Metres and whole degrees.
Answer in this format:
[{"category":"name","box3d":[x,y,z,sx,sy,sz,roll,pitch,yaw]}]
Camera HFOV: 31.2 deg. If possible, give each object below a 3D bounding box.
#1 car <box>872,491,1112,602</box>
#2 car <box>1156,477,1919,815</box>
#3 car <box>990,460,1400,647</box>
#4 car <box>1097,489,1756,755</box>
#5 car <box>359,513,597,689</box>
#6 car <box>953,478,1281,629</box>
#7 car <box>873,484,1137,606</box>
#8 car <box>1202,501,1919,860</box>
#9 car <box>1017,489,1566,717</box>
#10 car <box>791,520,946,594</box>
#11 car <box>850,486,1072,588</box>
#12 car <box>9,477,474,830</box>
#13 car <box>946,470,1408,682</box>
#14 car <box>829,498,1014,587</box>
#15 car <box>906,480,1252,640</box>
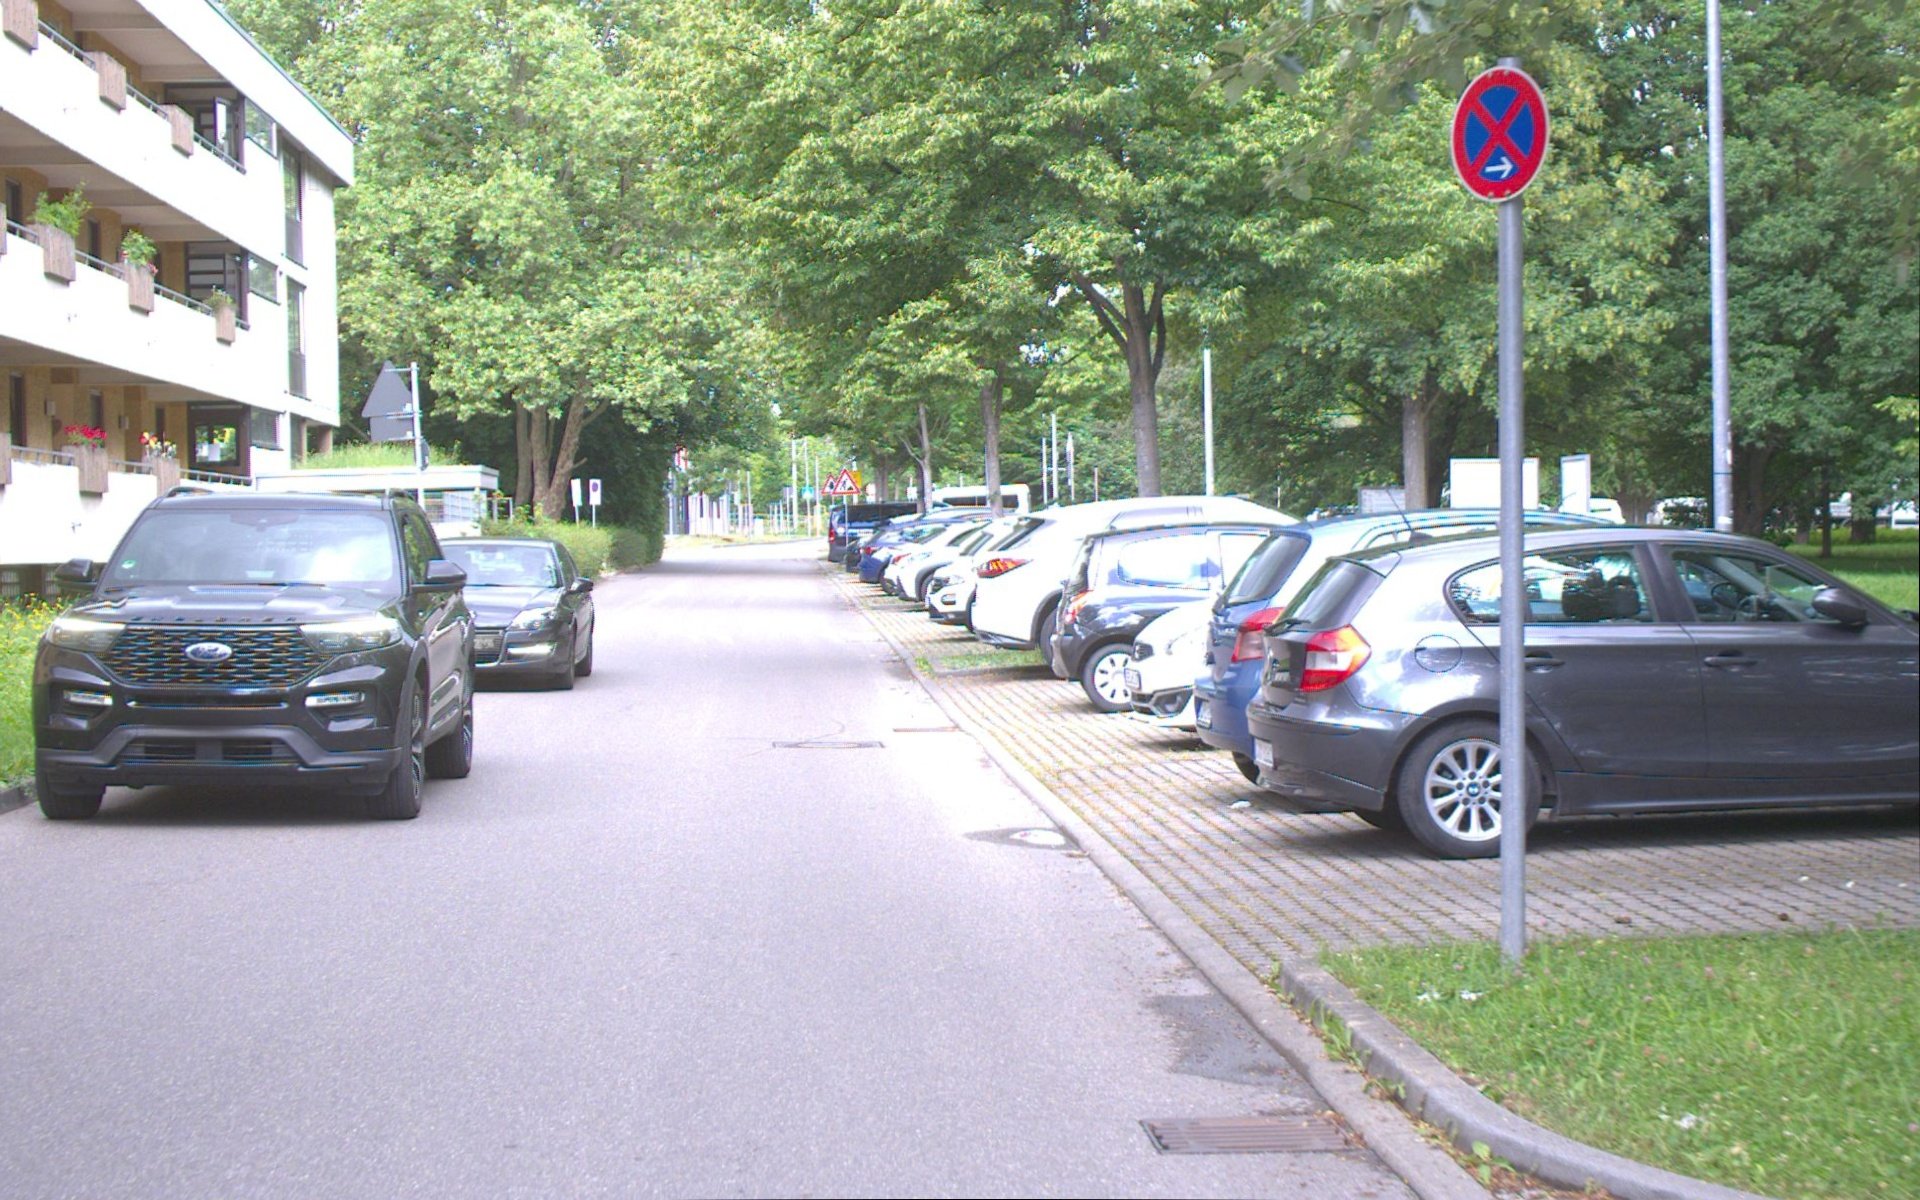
[{"category":"car","box3d":[0.554,-0.981,62.420,4.062,1.681,1.823,-4,1,-6]},{"category":"car","box3d":[3.201,0.227,18.294,4.062,1.563,1.822,-2,0,-4]},{"category":"car","box3d":[2.511,-0.511,37.324,4.062,1.681,1.823,-4,1,-6]},{"category":"car","box3d":[3.067,0.119,23.127,4.062,1.563,1.823,-2,1,-4]},{"category":"car","box3d":[-4.584,-0.032,33.228,1.968,1.570,4.339,0,1,-4]},{"category":"car","box3d":[2.077,-0.633,46.213,4.062,1.681,1.823,-4,1,-6]},{"category":"car","box3d":[0.717,-0.921,56.735,4.062,1.681,1.823,-4,1,-6]},{"category":"car","box3d":[3.291,0.325,15.775,4.062,1.429,2.000,-2,0,-4]},{"category":"car","box3d":[2.640,-0.001,27.944,4.062,1.483,1.823,-4,1,-6]},{"category":"car","box3d":[-2.568,-1.209,95.925,4.062,1.764,1.823,-4,1,-6]},{"category":"car","box3d":[-0.003,-1.238,67.546,4.062,1.681,1.823,-4,1,-6]},{"category":"car","box3d":[-3.884,0.224,19.316,1.968,1.741,4.339,0,1,-4]},{"category":"car","box3d":[2.035,-0.246,32.987,4.062,1.681,1.823,-4,1,-6]},{"category":"car","box3d":[-0.917,-1.352,80.792,4.062,1.764,1.823,-4,1,-6]},{"category":"car","box3d":[1.476,-0.521,43.700,4.062,1.681,1.823,-4,1,-6]}]
